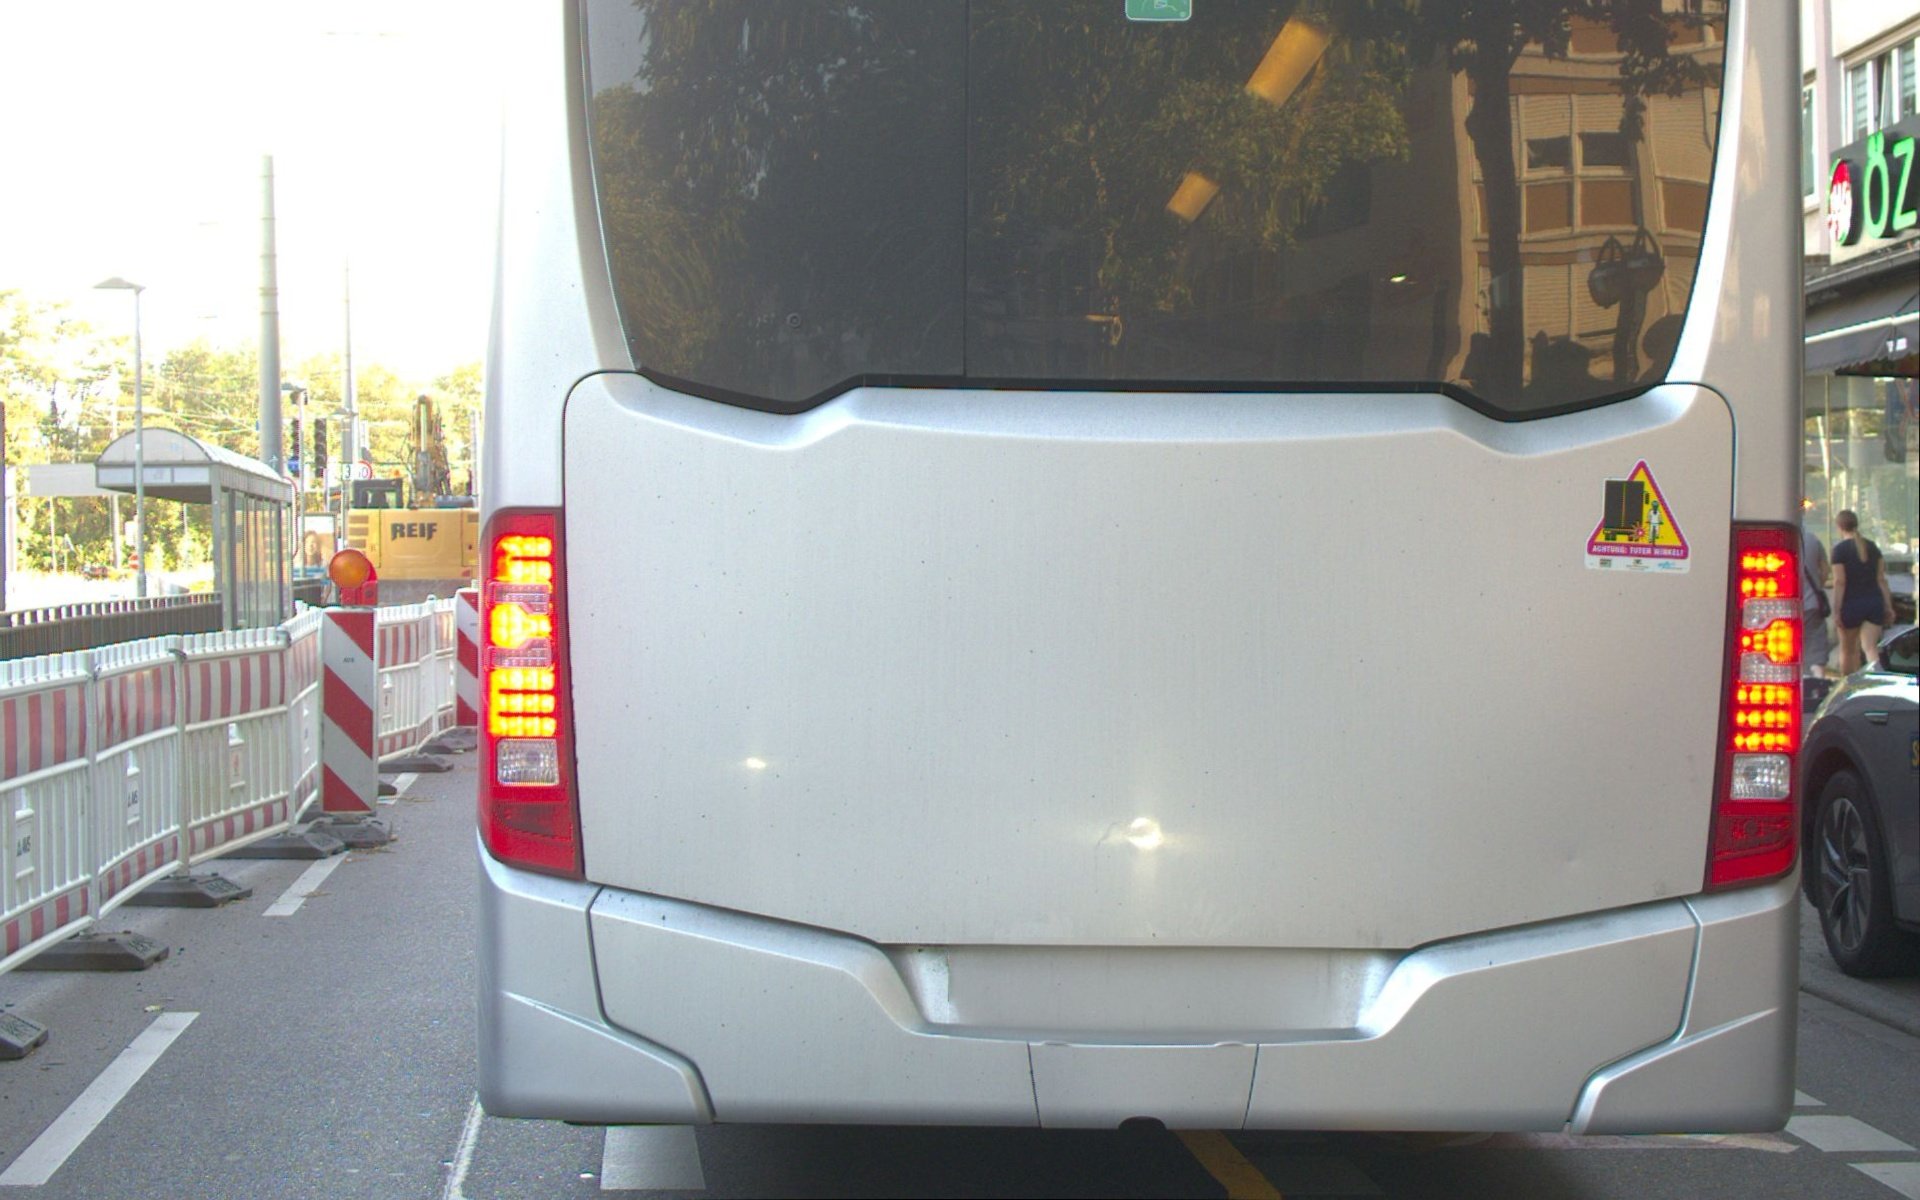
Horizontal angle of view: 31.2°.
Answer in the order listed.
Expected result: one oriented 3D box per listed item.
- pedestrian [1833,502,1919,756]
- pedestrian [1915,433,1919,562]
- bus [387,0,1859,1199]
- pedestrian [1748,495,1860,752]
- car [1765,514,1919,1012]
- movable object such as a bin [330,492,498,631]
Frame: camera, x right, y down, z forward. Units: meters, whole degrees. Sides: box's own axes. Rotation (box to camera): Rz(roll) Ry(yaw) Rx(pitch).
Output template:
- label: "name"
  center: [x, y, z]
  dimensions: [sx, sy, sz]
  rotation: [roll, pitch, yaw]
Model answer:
- label: "pedestrian"
  center: [7.394, 0.225, 27.504]
  dimensions: [0.612, 2.007, 0.696]
  rotation: [-1, 0, -1]
- label: "pedestrian"
  center: [4.906, 0.214, 15.762]
  dimensions: [0.769, 2.007, 0.714]
  rotation: [-2, 0, -1]
- label: "bus"
  center: [0.264, -0.280, 11.246]
  dimensions: [2.608, 3.159, 10.292]
  rotation: [0, 1, 0]
- label: "pedestrian"
  center: [6.710, 0.183, 27.346]
  dimensions: [0.691, 2.007, 0.696]
  rotation: [-1, 0, 0]
- label: "car"
  center: [3.993, 0.497, 10.303]
  dimensions: [1.739, 1.592, 4.300]
  rotation: [-3, 1, -5]
- label: "movable object such as a bin"
  center: [-10.057, -0.717, 63.668]
  dimensions: [2.806, 2.453, 4.001]
  rotation: [-1, 1, -5]
